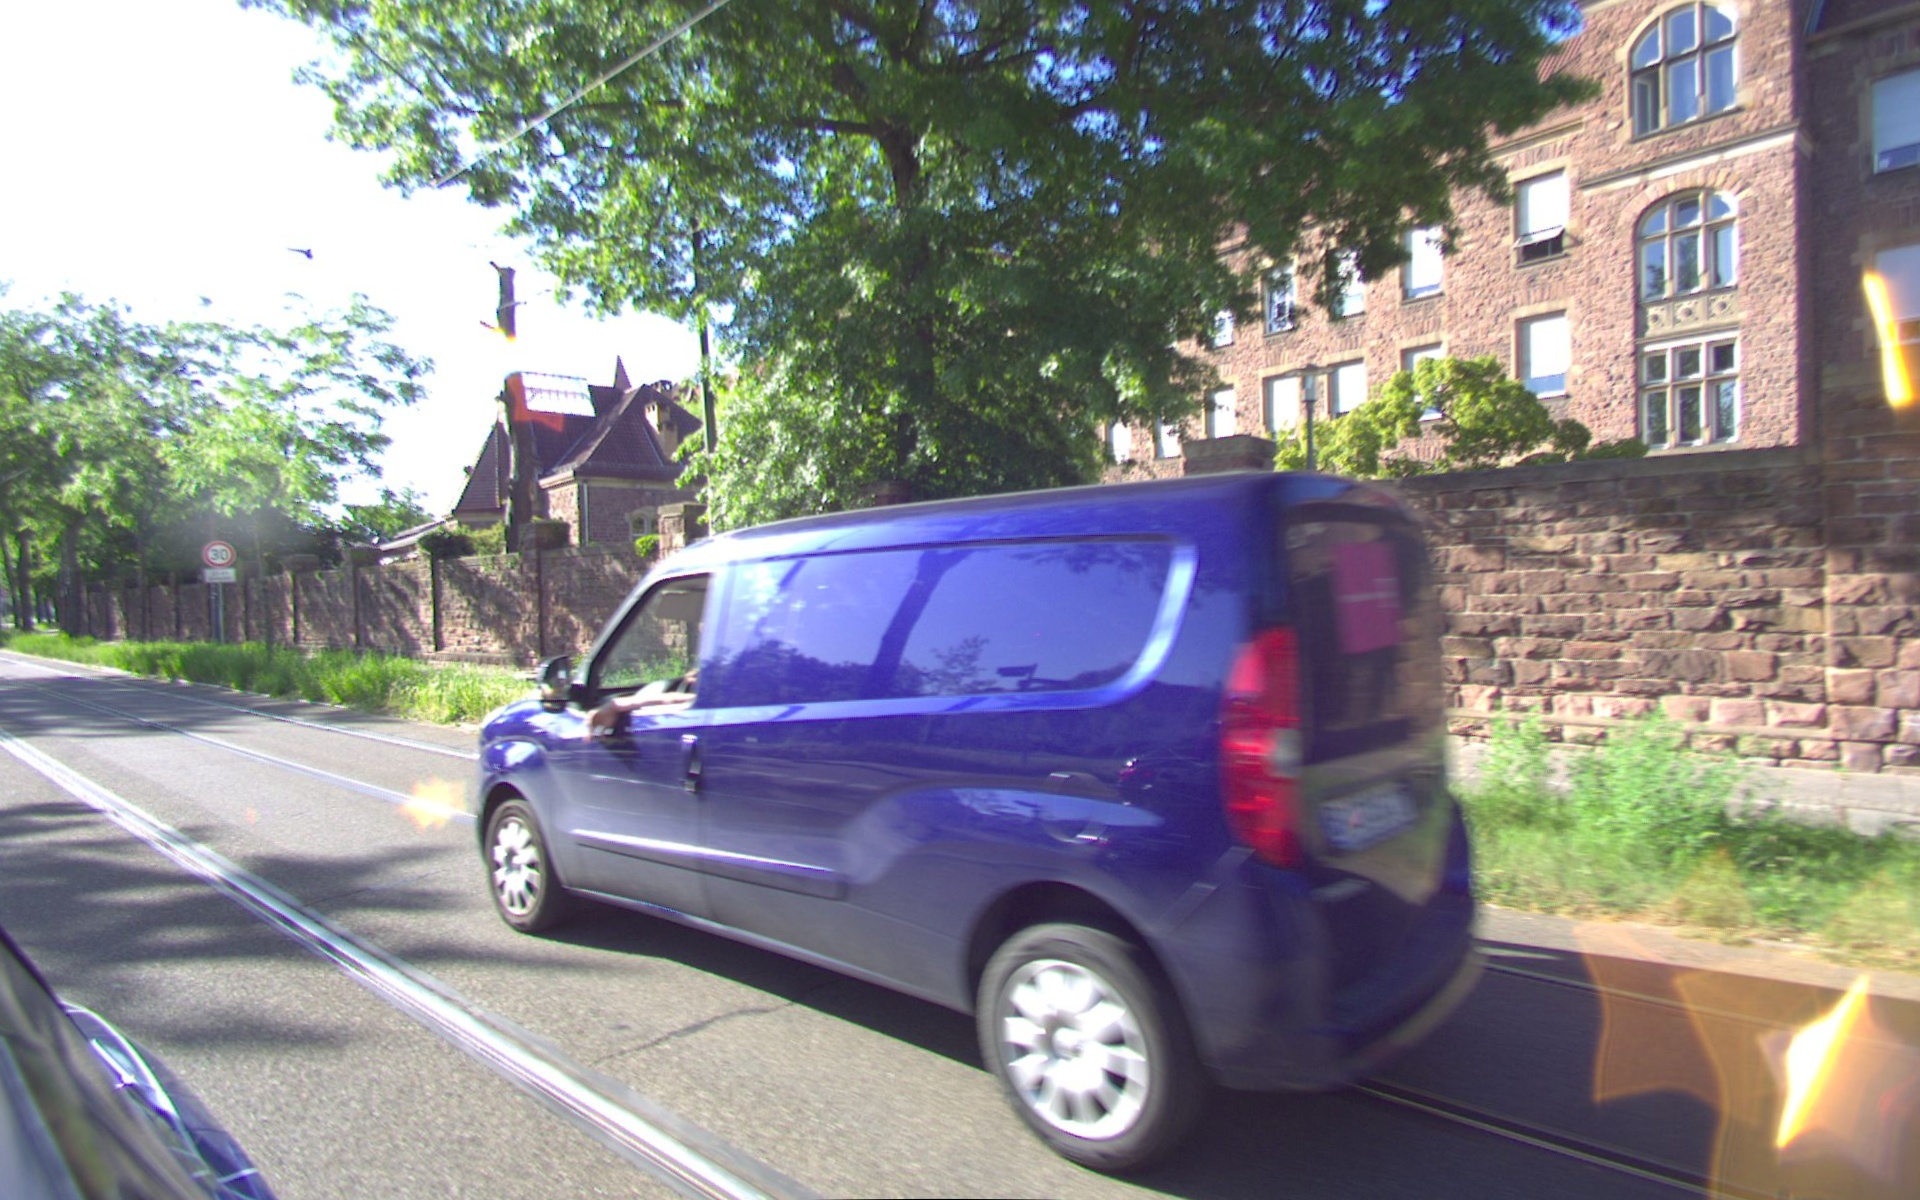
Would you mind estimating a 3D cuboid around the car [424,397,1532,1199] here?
[{"bbox_3d":[-0.313,0.525,4.045,4.331,1.806,1.617,-1,-1,38],"label":"car"}]
